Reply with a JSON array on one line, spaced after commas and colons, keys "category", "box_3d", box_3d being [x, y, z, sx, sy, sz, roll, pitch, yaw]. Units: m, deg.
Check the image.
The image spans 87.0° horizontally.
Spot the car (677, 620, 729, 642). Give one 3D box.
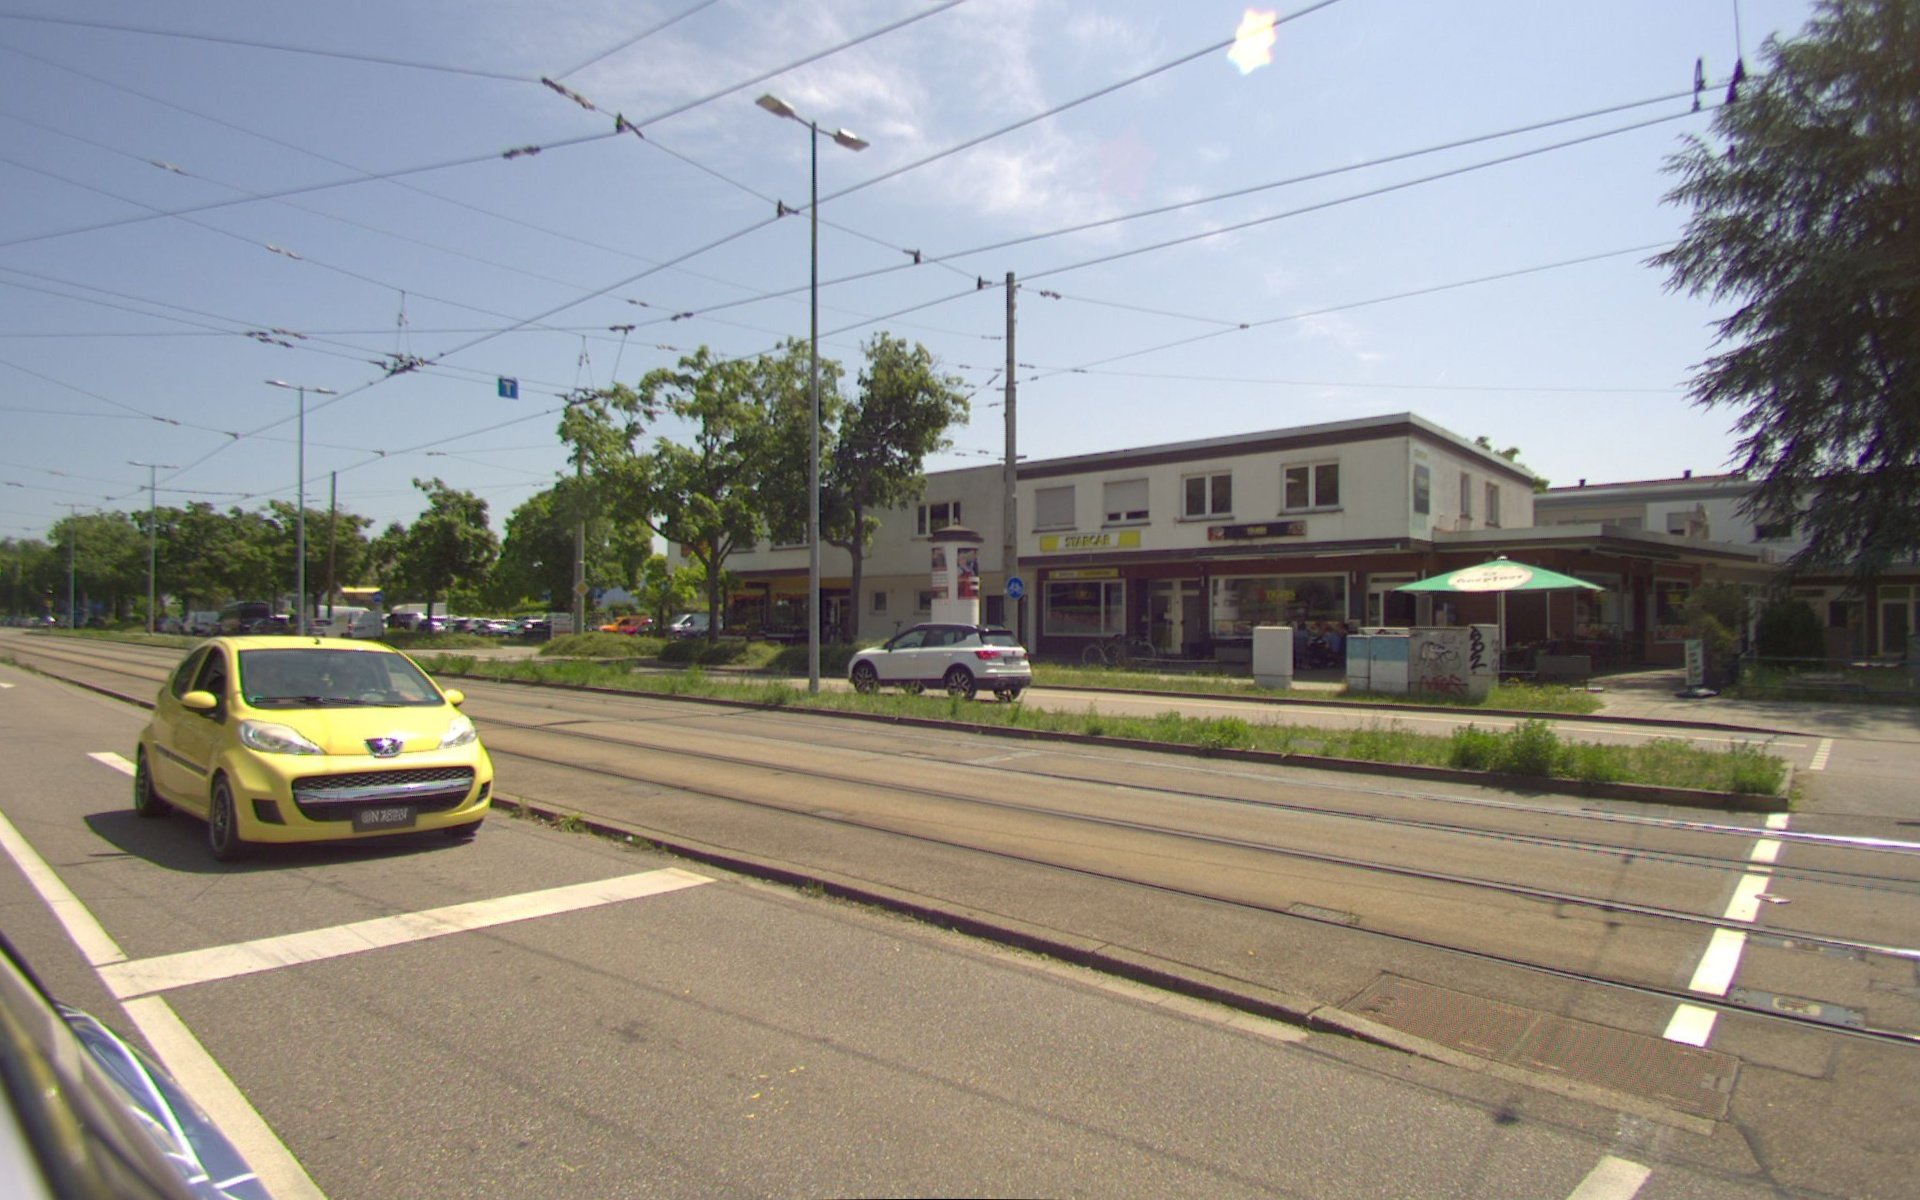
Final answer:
[{"category": "car", "box_3d": [-18.580, 2.271, 73.324, 1.532, 1.549, 3.448, -1, -2, 39]}]

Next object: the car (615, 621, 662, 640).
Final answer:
[{"category": "car", "box_3d": [-25.615, 2.413, 80.775, 1.505, 1.469, 3.313, -1, -2, 39]}]

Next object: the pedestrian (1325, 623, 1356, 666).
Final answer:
[{"category": "pedestrian", "box_3d": [10.975, 1.279, 29.192, 0.674, 1.218, 0.511, -1, -2, 42]}]

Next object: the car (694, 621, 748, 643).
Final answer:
[{"category": "car", "box_3d": [-16.972, 2.281, 71.948, 1.622, 1.549, 3.448, -1, -2, 39]}]

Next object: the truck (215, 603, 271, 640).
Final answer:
[{"category": "truck", "box_3d": [-50.849, 1.522, 71.712, 4.928, 2.561, 2.196, -1, -2, 42]}]

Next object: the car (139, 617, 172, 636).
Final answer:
[{"category": "car", "box_3d": [-73.687, 2.417, 92.663, 3.822, 1.716, 1.659, -1, -2, 41]}]

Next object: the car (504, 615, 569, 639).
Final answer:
[{"category": "car", "box_3d": [-26.918, 1.714, 64.357, 1.791, 1.502, 3.373, -1, -2, 37]}]

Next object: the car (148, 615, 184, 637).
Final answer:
[{"category": "car", "box_3d": [-68.932, 2.272, 87.848, 4.201, 1.807, 1.659, -1, -2, 41]}]

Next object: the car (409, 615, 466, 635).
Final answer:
[{"category": "car", "box_3d": [-38.506, 1.861, 74.636, 1.600, 1.404, 3.373, -1, -2, 37]}]

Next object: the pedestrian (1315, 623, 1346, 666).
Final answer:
[{"category": "pedestrian", "box_3d": [10.495, 1.261, 28.686, 0.674, 1.208, 0.511, -1, -2, 42]}]

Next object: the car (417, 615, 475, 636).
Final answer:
[{"category": "car", "box_3d": [-36.693, 1.824, 72.314, 1.600, 1.404, 3.373, -1, -2, 37]}]

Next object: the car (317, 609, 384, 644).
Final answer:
[{"category": "car", "box_3d": [-34.115, 1.470, 56.589, 4.661, 1.898, 1.972, -1, -2, 42]}]

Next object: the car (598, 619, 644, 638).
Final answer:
[{"category": "car", "box_3d": [-27.543, 2.308, 82.265, 1.505, 1.573, 3.313, -1, -2, 39]}]

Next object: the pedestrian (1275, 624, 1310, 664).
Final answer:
[{"category": "pedestrian", "box_3d": [9.680, 1.268, 29.480, 0.810, 1.136, 0.558, -1, -2, 42]}]

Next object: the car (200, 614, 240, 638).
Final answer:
[{"category": "car", "box_3d": [-56.785, 2.016, 77.644, 3.867, 1.807, 1.659, -1, -2, 41]}]

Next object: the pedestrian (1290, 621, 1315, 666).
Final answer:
[{"category": "pedestrian", "box_3d": [9.675, 1.234, 28.590, 0.491, 1.248, 0.568, -1, -2, 41]}]

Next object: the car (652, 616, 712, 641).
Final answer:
[{"category": "car", "box_3d": [-20.483, 2.103, 74.685, 1.812, 1.798, 3.948, -1, -2, 39]}]

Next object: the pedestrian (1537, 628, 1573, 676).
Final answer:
[{"category": "pedestrian", "box_3d": [14.524, 1.261, 24.700, 0.674, 1.136, 0.511, -1, -2, 42]}]

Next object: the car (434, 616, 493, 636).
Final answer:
[{"category": "car", "box_3d": [-34.735, 1.825, 70.897, 1.600, 1.404, 3.373, -1, -2, 37]}]

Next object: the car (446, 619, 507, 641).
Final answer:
[{"category": "car", "box_3d": [-32.706, 2.015, 68.504, 1.600, 1.404, 3.373, -1, -2, 37]}]

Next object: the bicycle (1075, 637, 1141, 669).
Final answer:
[{"category": "bicycle", "box_3d": [4.417, 1.578, 30.361, 1.958, 0.854, 0.595, -1, 1, 42]}]

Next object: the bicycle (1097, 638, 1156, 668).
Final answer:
[{"category": "bicycle", "box_3d": [5.145, 1.616, 31.287, 1.787, 0.854, 0.522, -1, 1, 42]}]

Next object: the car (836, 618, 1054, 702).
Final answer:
[{"category": "car", "box_3d": [-0.356, 1.189, 20.822, 4.133, 1.564, 1.974, -1, -4, 38]}]

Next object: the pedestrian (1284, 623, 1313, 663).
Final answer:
[{"category": "pedestrian", "box_3d": [10.065, 1.273, 30.092, 0.674, 1.172, 0.511, -1, -2, 42]}]

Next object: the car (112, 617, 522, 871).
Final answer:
[{"category": "car", "box_3d": [-4.978, 0.896, 7.655, 3.654, 1.432, 1.599, 0, -4, 41]}]

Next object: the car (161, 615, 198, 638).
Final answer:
[{"category": "car", "box_3d": [-65.291, 2.208, 84.649, 4.201, 1.807, 1.659, -1, -2, 41]}]

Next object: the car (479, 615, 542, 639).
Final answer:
[{"category": "car", "box_3d": [-29.026, 1.727, 65.426, 1.596, 1.502, 3.373, -1, -2, 37]}]

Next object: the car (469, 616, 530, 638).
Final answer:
[{"category": "car", "box_3d": [-30.653, 1.808, 67.422, 1.600, 1.404, 3.373, -1, -2, 37]}]

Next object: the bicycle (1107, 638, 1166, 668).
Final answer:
[{"category": "bicycle", "box_3d": [5.520, 1.638, 31.709, 1.787, 0.854, 0.522, -1, 1, 42]}]

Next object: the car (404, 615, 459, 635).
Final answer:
[{"category": "car", "box_3d": [-40.112, 1.898, 76.845, 1.600, 1.517, 3.373, -1, -2, 37]}]

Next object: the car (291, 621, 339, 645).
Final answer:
[{"category": "car", "box_3d": [-38.756, 1.956, 60.798, 3.569, 1.397, 1.652, -1, -2, 44]}]

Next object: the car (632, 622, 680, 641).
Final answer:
[{"category": "car", "box_3d": [-23.563, 2.427, 78.447, 1.505, 1.400, 3.313, -1, -2, 39]}]

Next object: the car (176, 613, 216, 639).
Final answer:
[{"category": "car", "box_3d": [-61.110, 2.075, 80.923, 4.507, 1.989, 1.659, -1, -2, 41]}]

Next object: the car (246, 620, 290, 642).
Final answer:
[{"category": "car", "box_3d": [-46.211, 2.047, 67.558, 3.670, 1.397, 1.652, -1, -2, 44]}]
